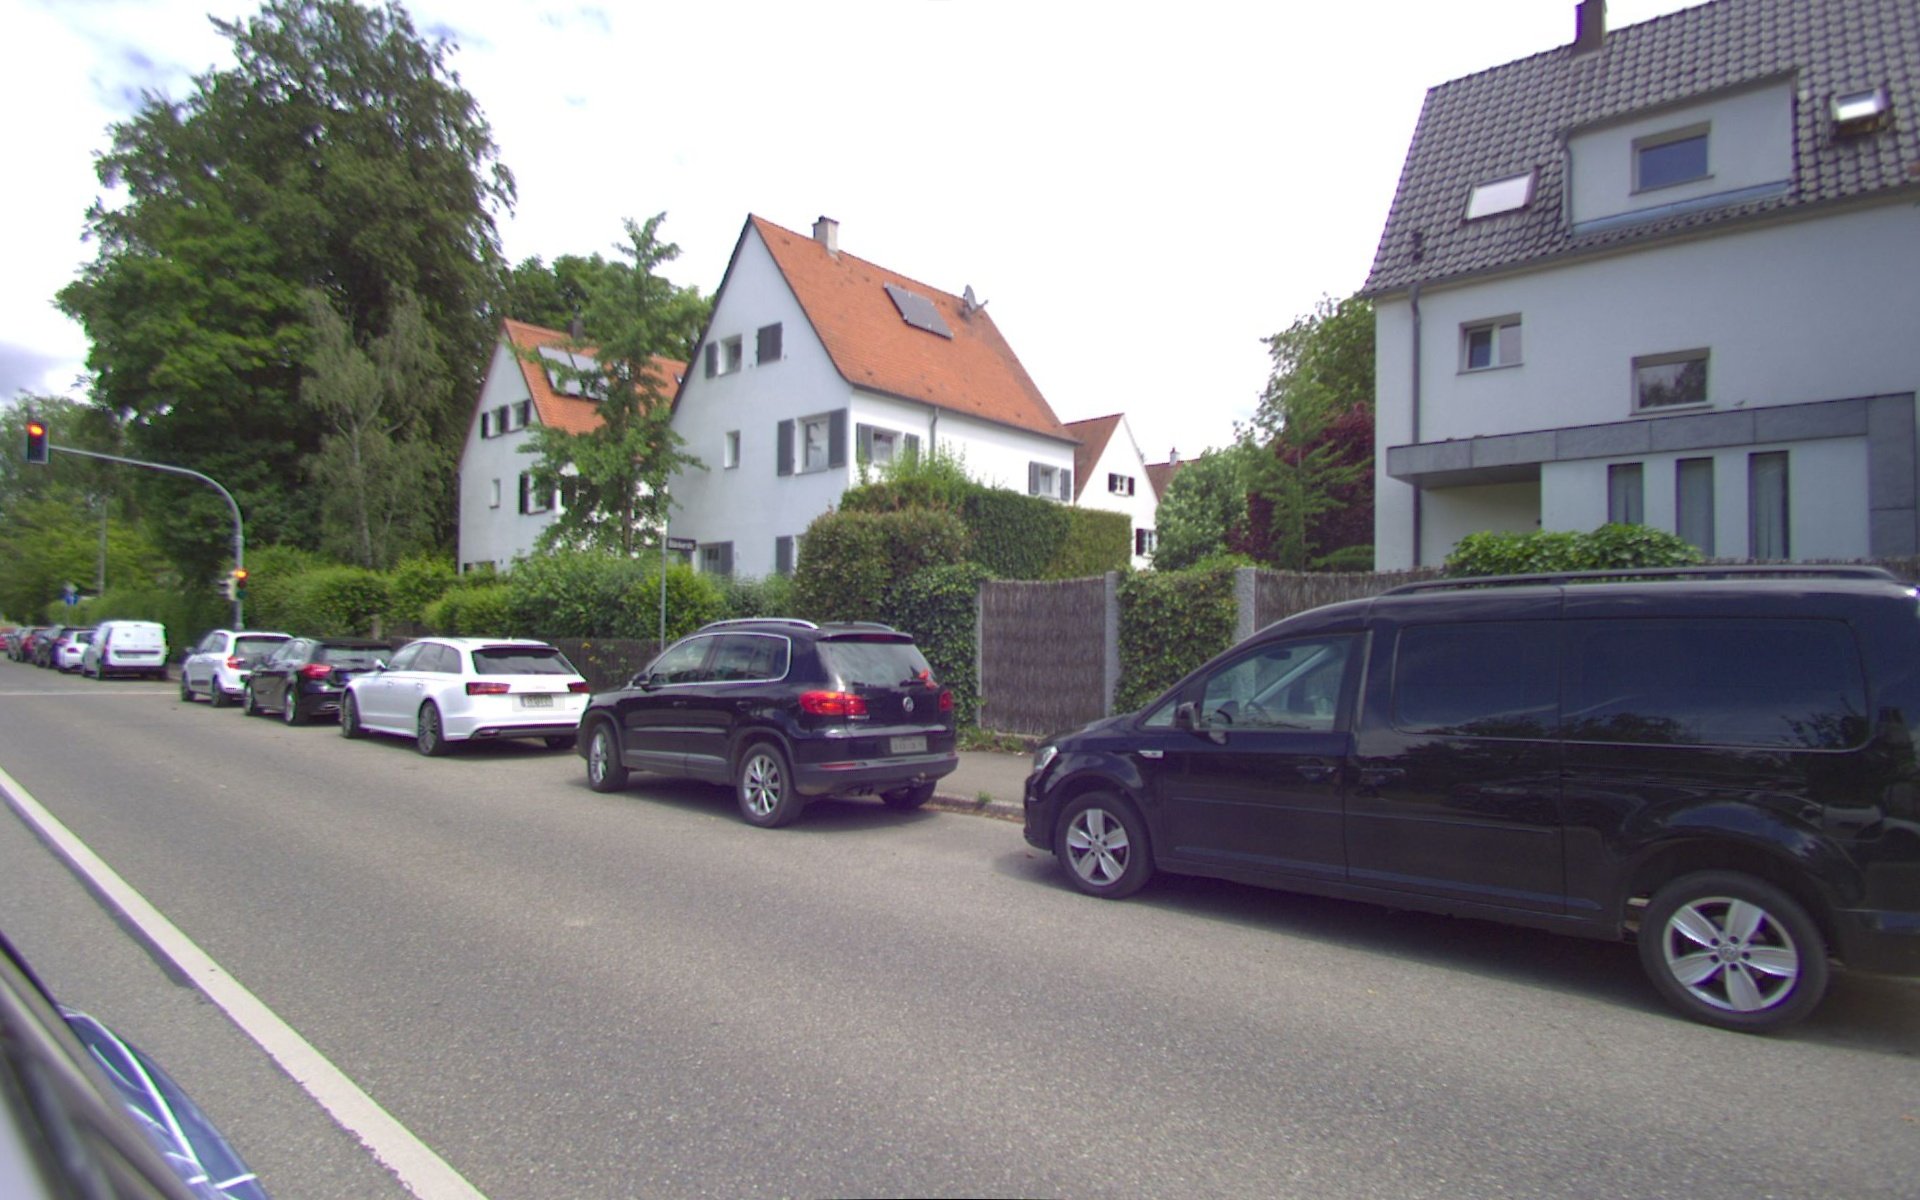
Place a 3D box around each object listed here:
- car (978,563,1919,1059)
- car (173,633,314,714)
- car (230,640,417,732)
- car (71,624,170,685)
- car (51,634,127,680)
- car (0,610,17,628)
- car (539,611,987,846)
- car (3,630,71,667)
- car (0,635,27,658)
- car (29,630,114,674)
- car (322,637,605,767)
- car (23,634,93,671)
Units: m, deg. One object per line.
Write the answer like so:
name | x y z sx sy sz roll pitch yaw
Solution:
car | 2.634 0.785 5.630 4.880 1.768 2.046 -1 -1 40
car | -15.204 1.511 21.413 3.743 1.555 1.683 -2 -4 44
car | -11.216 1.425 17.724 4.324 1.421 1.723 -2 -4 44
car | -26.384 1.692 31.770 4.606 1.772 1.659 -2 -4 42
car | -30.379 1.962 35.262 1.684 1.464 4.360 6 -6 -44
car | -74.885 1.482 78.986 1.652 1.381 3.610 4 -4 -41
car | -2.027 1.031 9.447 4.581 1.691 1.609 -2 -5 41
car | -42.433 2.200 46.490 4.414 1.623 1.771 -2 -3 41
car | -61.589 2.983 65.150 4.066 1.413 1.944 -2 -3 44
car | -34.330 1.977 39.075 4.641 1.606 1.876 -2 -3 41
car | -6.962 1.271 13.899 5.069 1.470 1.785 -2 -4 43
car | -38.123 2.195 42.742 4.236 1.470 1.714 -2 -3 42
